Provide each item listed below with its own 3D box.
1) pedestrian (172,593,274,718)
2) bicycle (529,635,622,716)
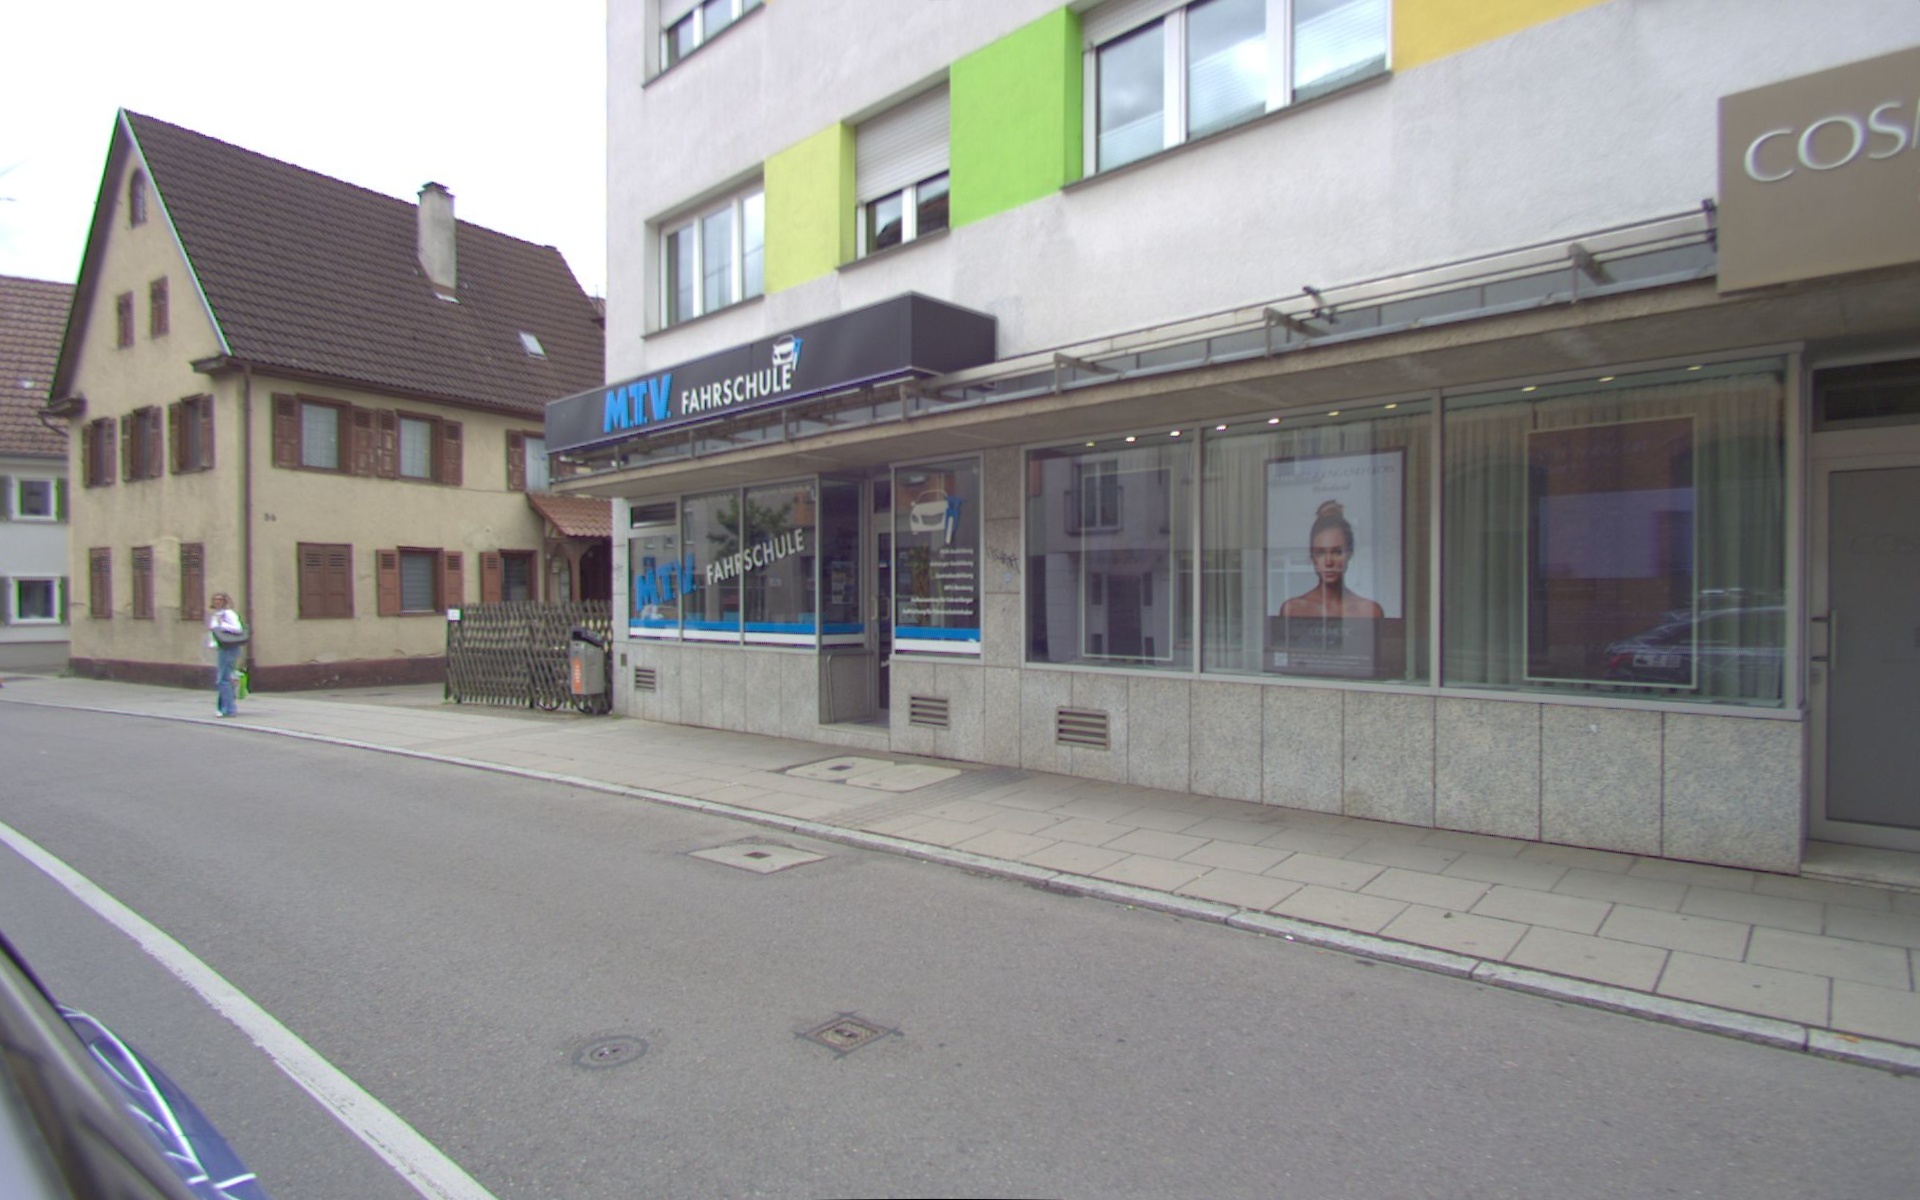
[{"bbox_3d":[-10.327,0.748,14.187,0.858,1.678,0.886,-1,-1,29],"label":"pedestrian"},{"bbox_3d":[-5.387,1.022,14.139,1.745,1.061,0.320,-1,-1,37],"label":"bicycle"}]
